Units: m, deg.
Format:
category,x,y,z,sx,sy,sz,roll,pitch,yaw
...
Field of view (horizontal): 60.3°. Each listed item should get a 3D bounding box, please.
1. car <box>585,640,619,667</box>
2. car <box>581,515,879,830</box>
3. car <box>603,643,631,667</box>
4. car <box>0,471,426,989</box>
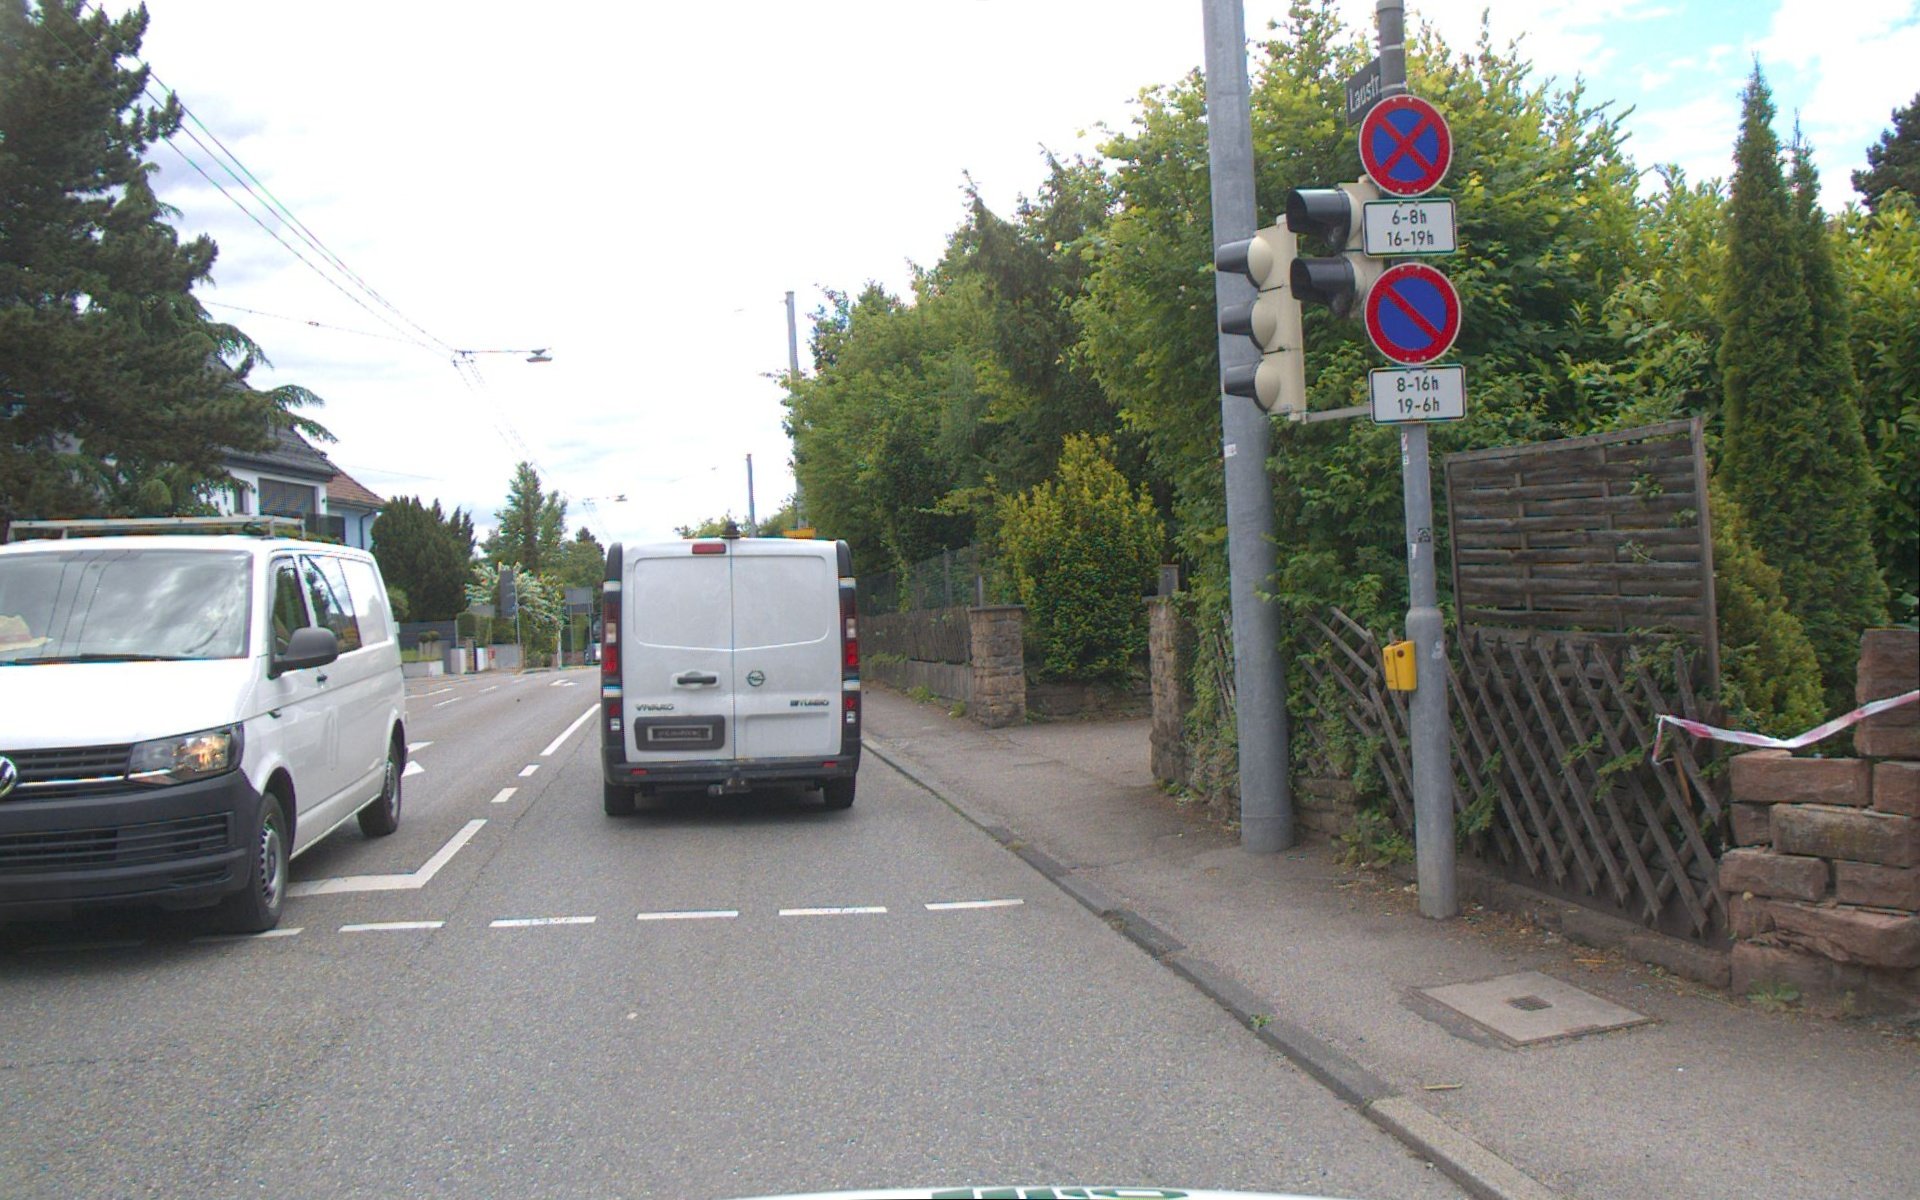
category,x,y,z,sx,sy,sz,roll,pitch,yaw
car,-22.357,3.330,103.485,1.777,1.480,4.402,-5,-1,-10
car,-1.938,0.494,13.556,1.969,2.073,4.998,0,-1,-10
car,-24.453,3.931,118.033,1.648,1.583,3.962,-4,-2,-9
car,-4.389,0.568,9.304,1.824,2.083,5.159,-3,0,-10
